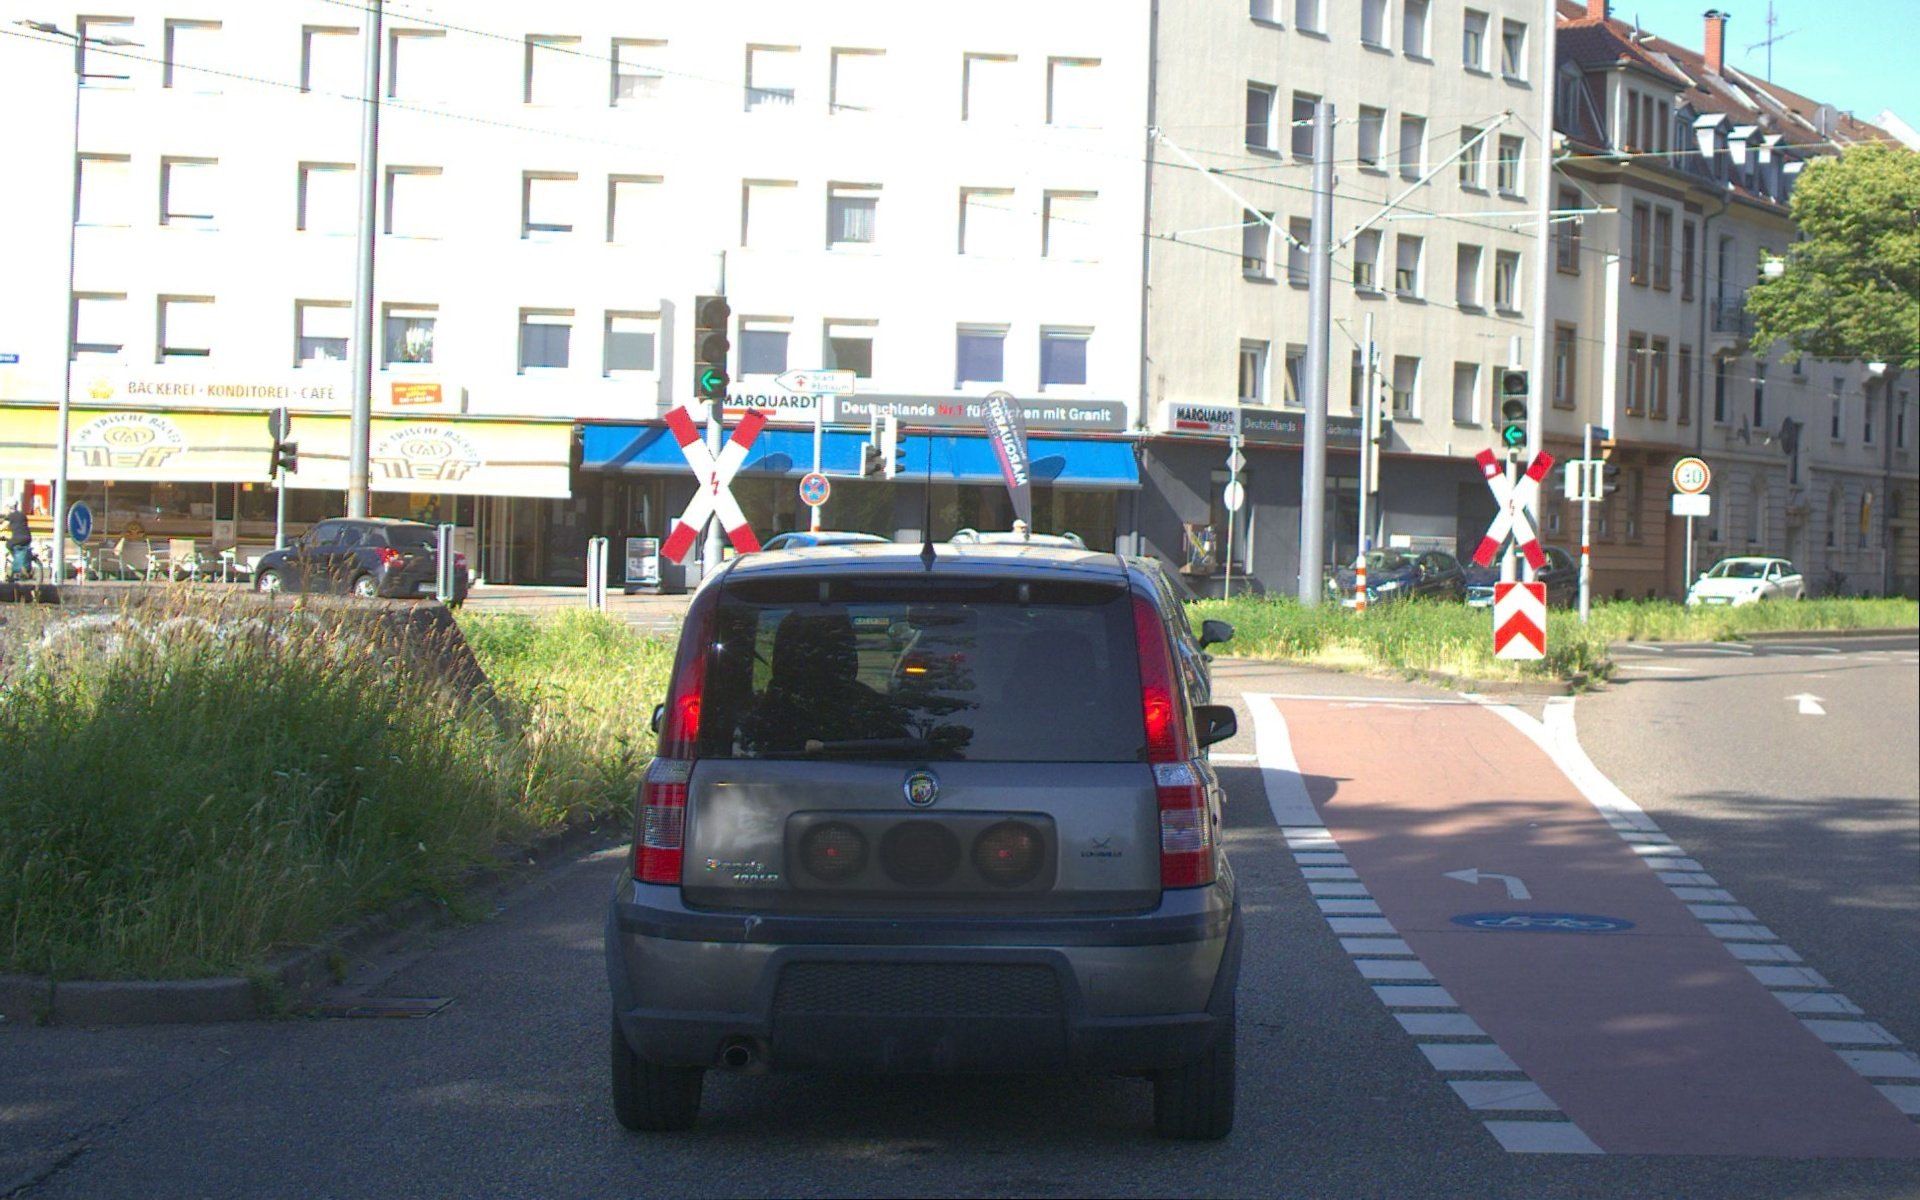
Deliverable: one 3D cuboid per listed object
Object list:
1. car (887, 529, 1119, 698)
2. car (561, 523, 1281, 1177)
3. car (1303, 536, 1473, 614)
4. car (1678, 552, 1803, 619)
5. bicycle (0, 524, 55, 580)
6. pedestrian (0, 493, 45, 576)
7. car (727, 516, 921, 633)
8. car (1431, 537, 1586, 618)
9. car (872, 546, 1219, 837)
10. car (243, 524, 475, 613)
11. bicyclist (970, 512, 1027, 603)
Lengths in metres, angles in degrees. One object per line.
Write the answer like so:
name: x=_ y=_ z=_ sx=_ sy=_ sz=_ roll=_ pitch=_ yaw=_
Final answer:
car: x=0.349 y=0.084 z=33.436 sx=1.759 sy=1.481 sz=4.294 roll=2 pitch=1 yaw=-6
car: x=-0.144 y=0.563 z=9.766 sx=1.660 sy=1.505 sz=3.252 roll=2 pitch=1 yaw=-2
car: x=8.196 y=-0.468 z=65.632 sx=1.793 sy=1.391 sz=3.718 roll=3 pitch=1 yaw=32
car: x=18.484 y=-0.345 z=81.326 sx=1.793 sy=1.477 sz=3.525 roll=2 pitch=1 yaw=32
bicycle: x=-16.949 y=-0.872 z=60.808 sx=1.854 sy=0.948 sz=0.784 roll=3 pitch=0 yaw=36
pedestrian: x=-16.811 y=-1.167 z=60.710 sx=0.937 sy=1.423 sz=0.774 roll=3 pitch=0 yaw=36
car: x=-1.844 y=-0.361 z=45.663 sx=1.645 sy=1.433 sz=3.397 roll=1 pitch=1 yaw=-18
car: x=11.330 y=-0.461 z=70.894 sx=1.793 sy=1.560 sz=3.759 roll=2 pitch=1 yaw=32
car: x=0.393 y=0.440 z=19.423 sx=1.621 sy=1.424 sz=3.689 roll=2 pitch=1 yaw=-3
car: x=-9.406 y=-0.500 z=53.711 sx=3.623 sy=1.249 sz=1.692 roll=3 pitch=1 yaw=43
bicyclist: x=0.673 y=-0.746 z=60.201 sx=0.822 sy=1.553 sz=0.561 roll=2 pitch=1 yaw=19
